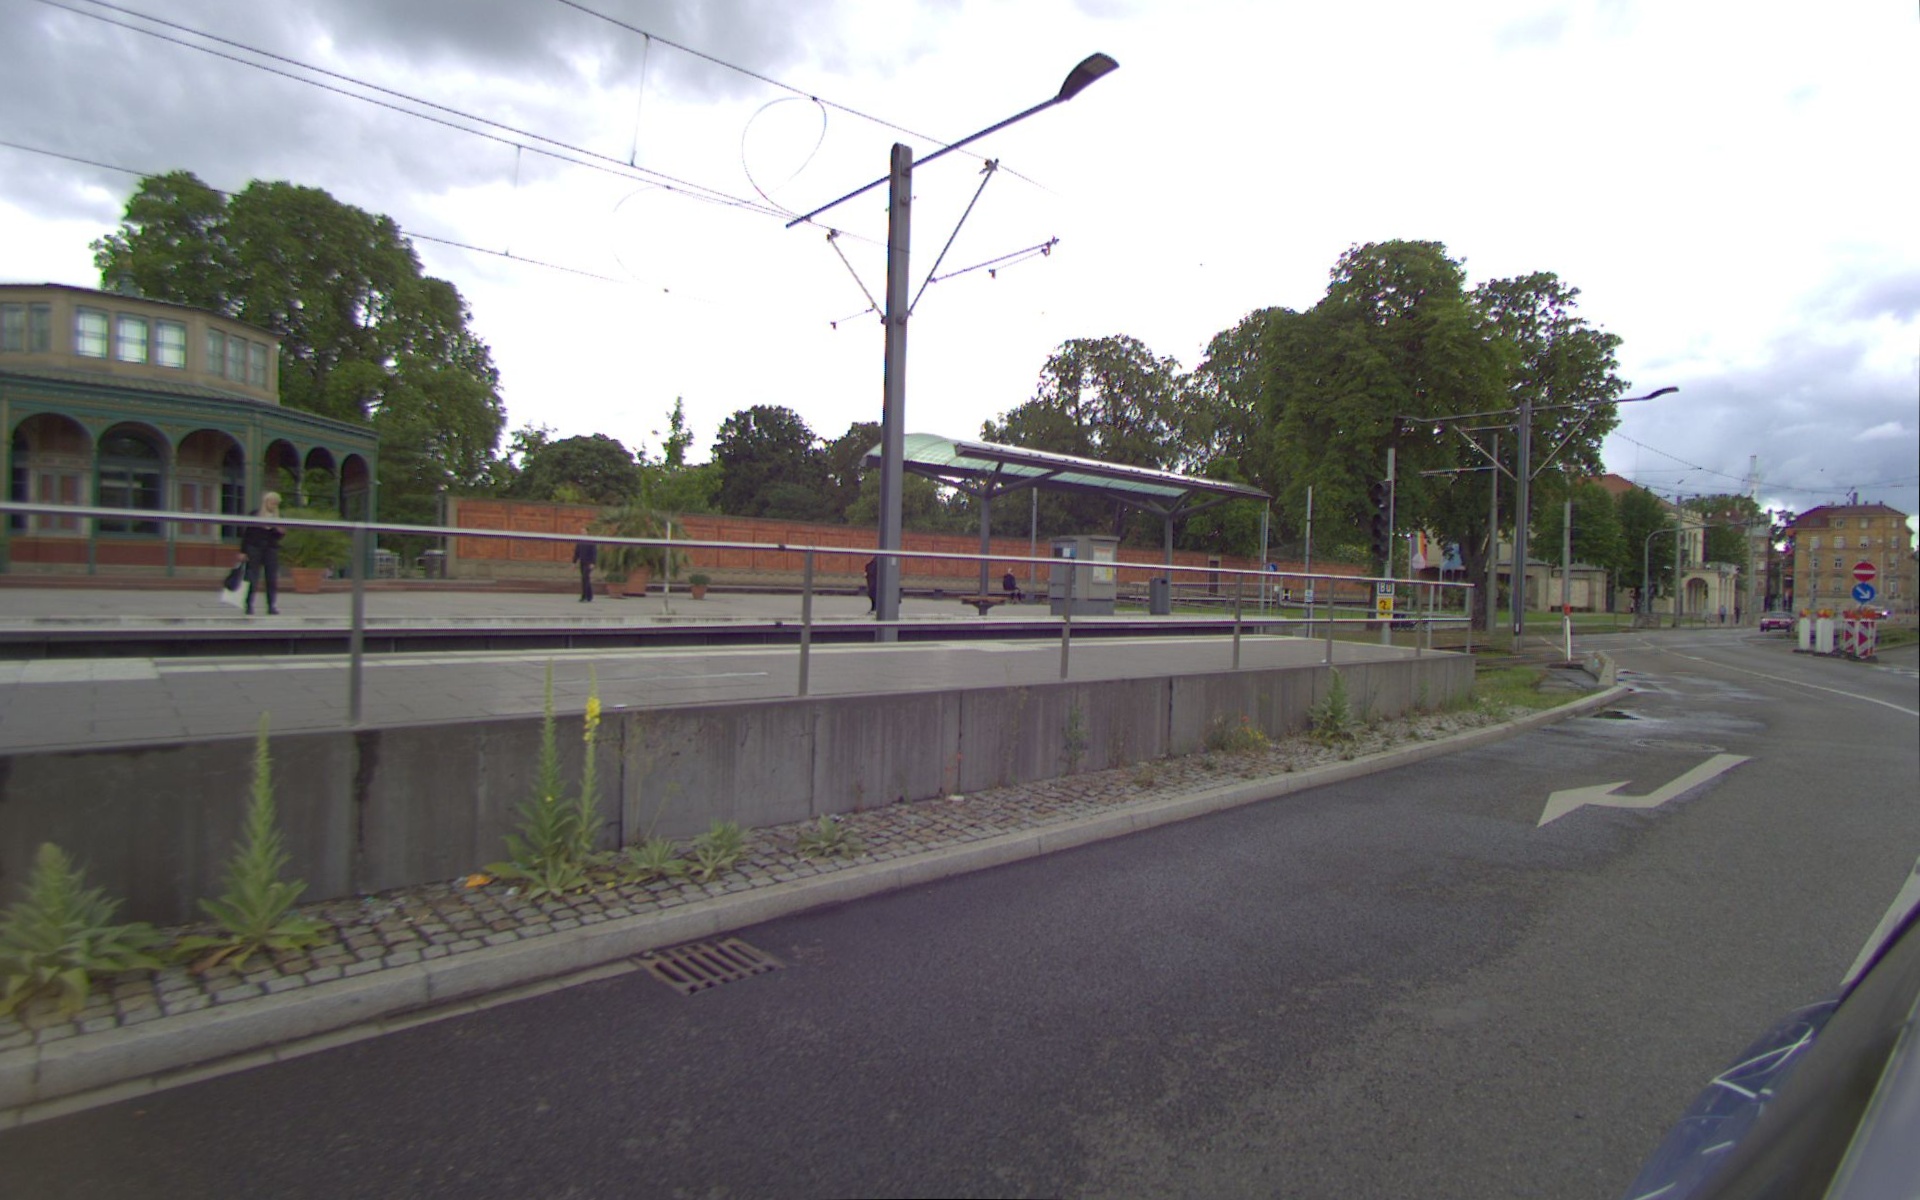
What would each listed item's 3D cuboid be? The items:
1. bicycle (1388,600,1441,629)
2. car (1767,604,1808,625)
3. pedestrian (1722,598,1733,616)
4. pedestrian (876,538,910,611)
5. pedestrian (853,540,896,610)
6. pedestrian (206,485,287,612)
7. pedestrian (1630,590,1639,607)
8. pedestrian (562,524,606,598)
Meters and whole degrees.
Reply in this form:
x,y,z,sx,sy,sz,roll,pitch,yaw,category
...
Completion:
x,y,z,sx,sy,sz,roll,pitch,yaw,category
19.872,0.629,44.252,0.727,1.172,1.997,1,1,-37,bicycle
58.119,1.024,71.045,4.049,1.460,1.678,1,-1,-43,car
77.001,0.673,101.528,0.921,1.790,0.671,1,1,-43,pedestrian
-1.557,-0.583,23.486,0.616,1.681,0.487,0,-1,-33,pedestrian
-2.032,-0.571,24.011,0.757,1.621,0.742,0,-1,-33,pedestrian
-10.010,-0.694,14.198,0.851,1.709,0.633,1,-1,-42,pedestrian
73.446,-0.156,110.146,0.795,1.815,0.596,1,1,-43,pedestrian
-9.700,-0.978,26.121,0.547,1.861,0.938,-1,-1,42,pedestrian
